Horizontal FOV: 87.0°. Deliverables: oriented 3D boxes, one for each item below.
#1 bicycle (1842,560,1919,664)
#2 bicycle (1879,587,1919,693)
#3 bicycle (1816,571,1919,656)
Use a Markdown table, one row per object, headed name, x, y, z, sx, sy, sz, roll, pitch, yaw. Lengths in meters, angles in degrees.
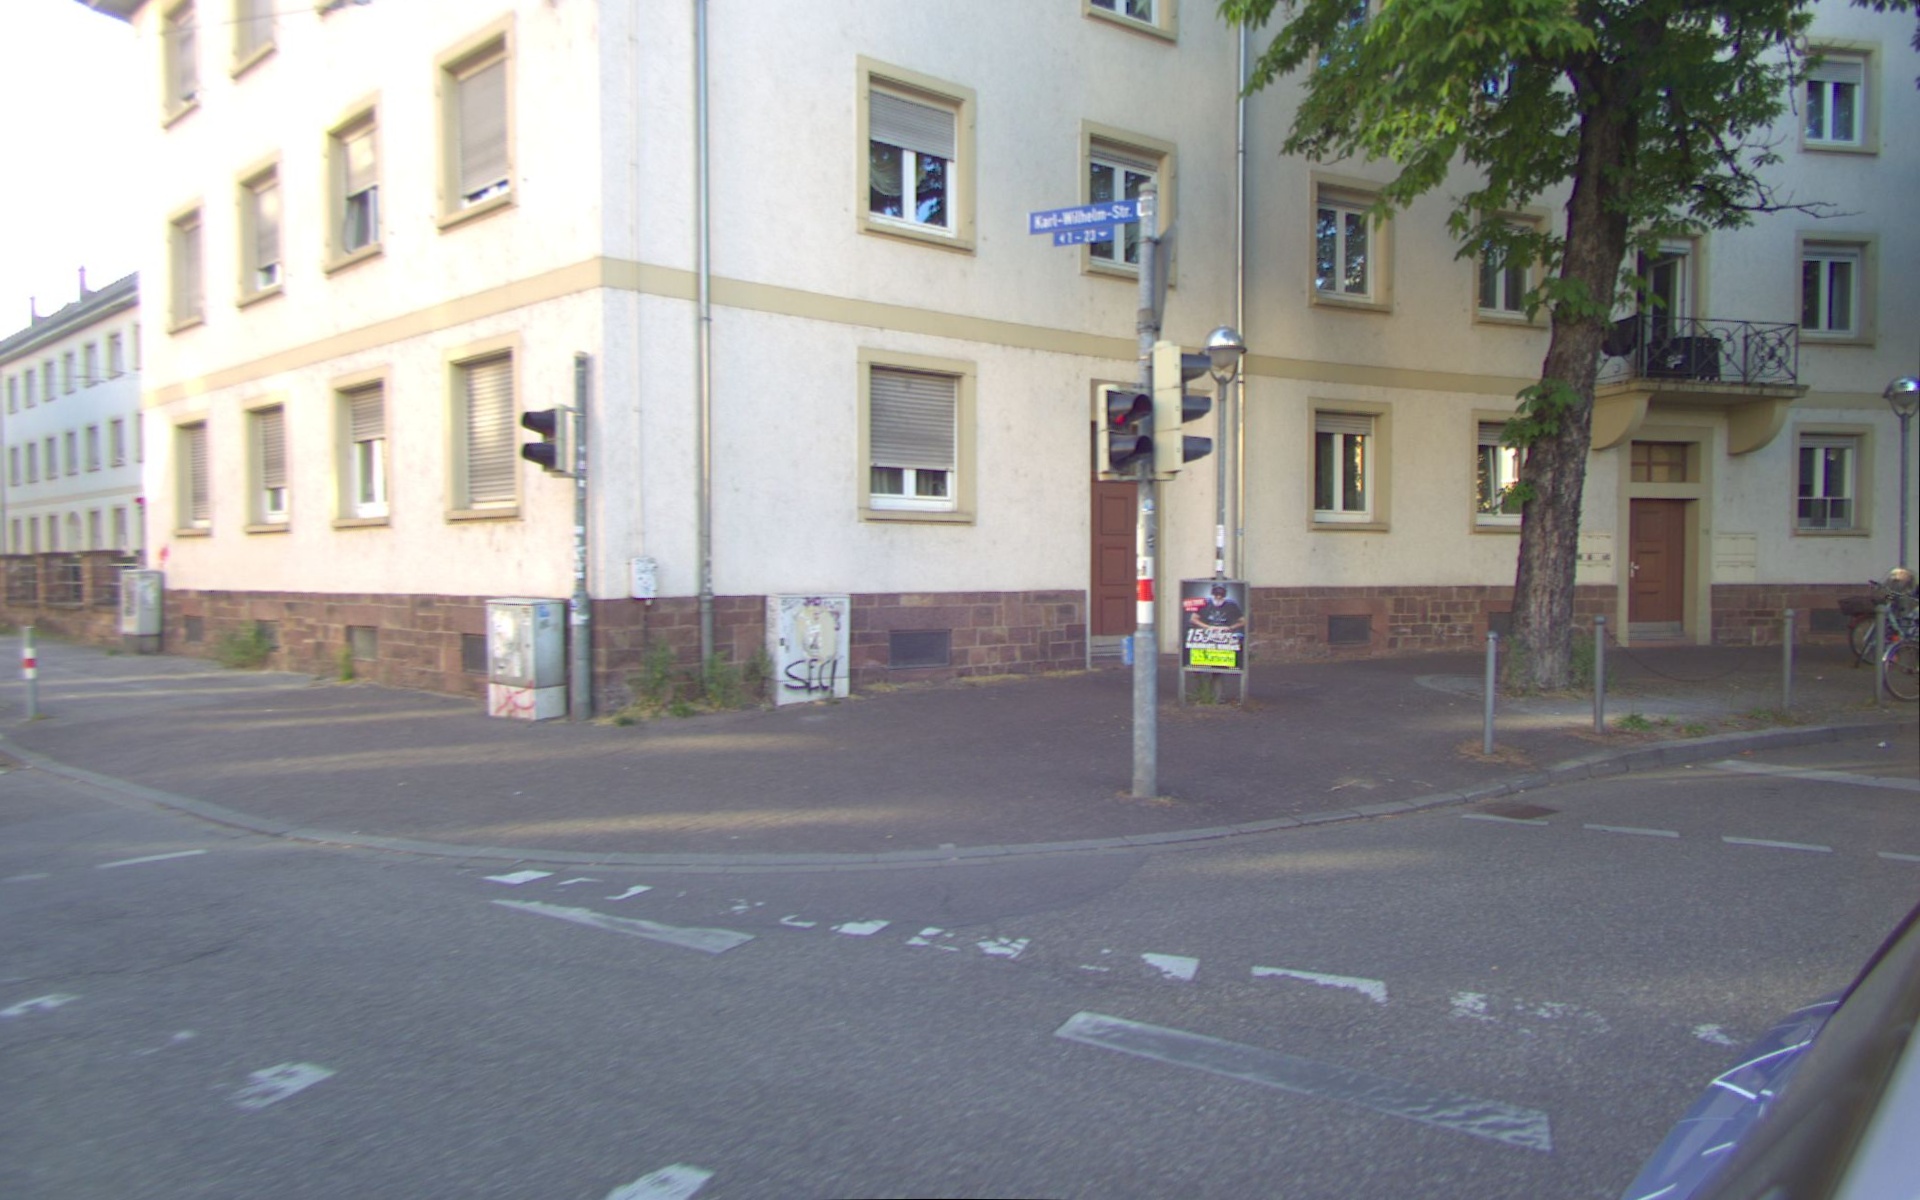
| name | x | y | z | sx | sy | sz | roll | pitch | yaw |
| --- | --- | --- | --- | --- | --- | --- | --- | --- | --- |
| bicycle | 12.710 | 0.132 | 13.104 | 1.928 | 1.292 | 0.720 | 0 | 3 | -2 |
| bicycle | 10.818 | 0.418 | 10.772 | 1.603 | 1.076 | 0.483 | 0 | 4 | -4 |
| bicycle | 12.909 | 0.166 | 13.787 | 1.929 | 1.121 | 0.670 | 0 | 1 | -1 |
